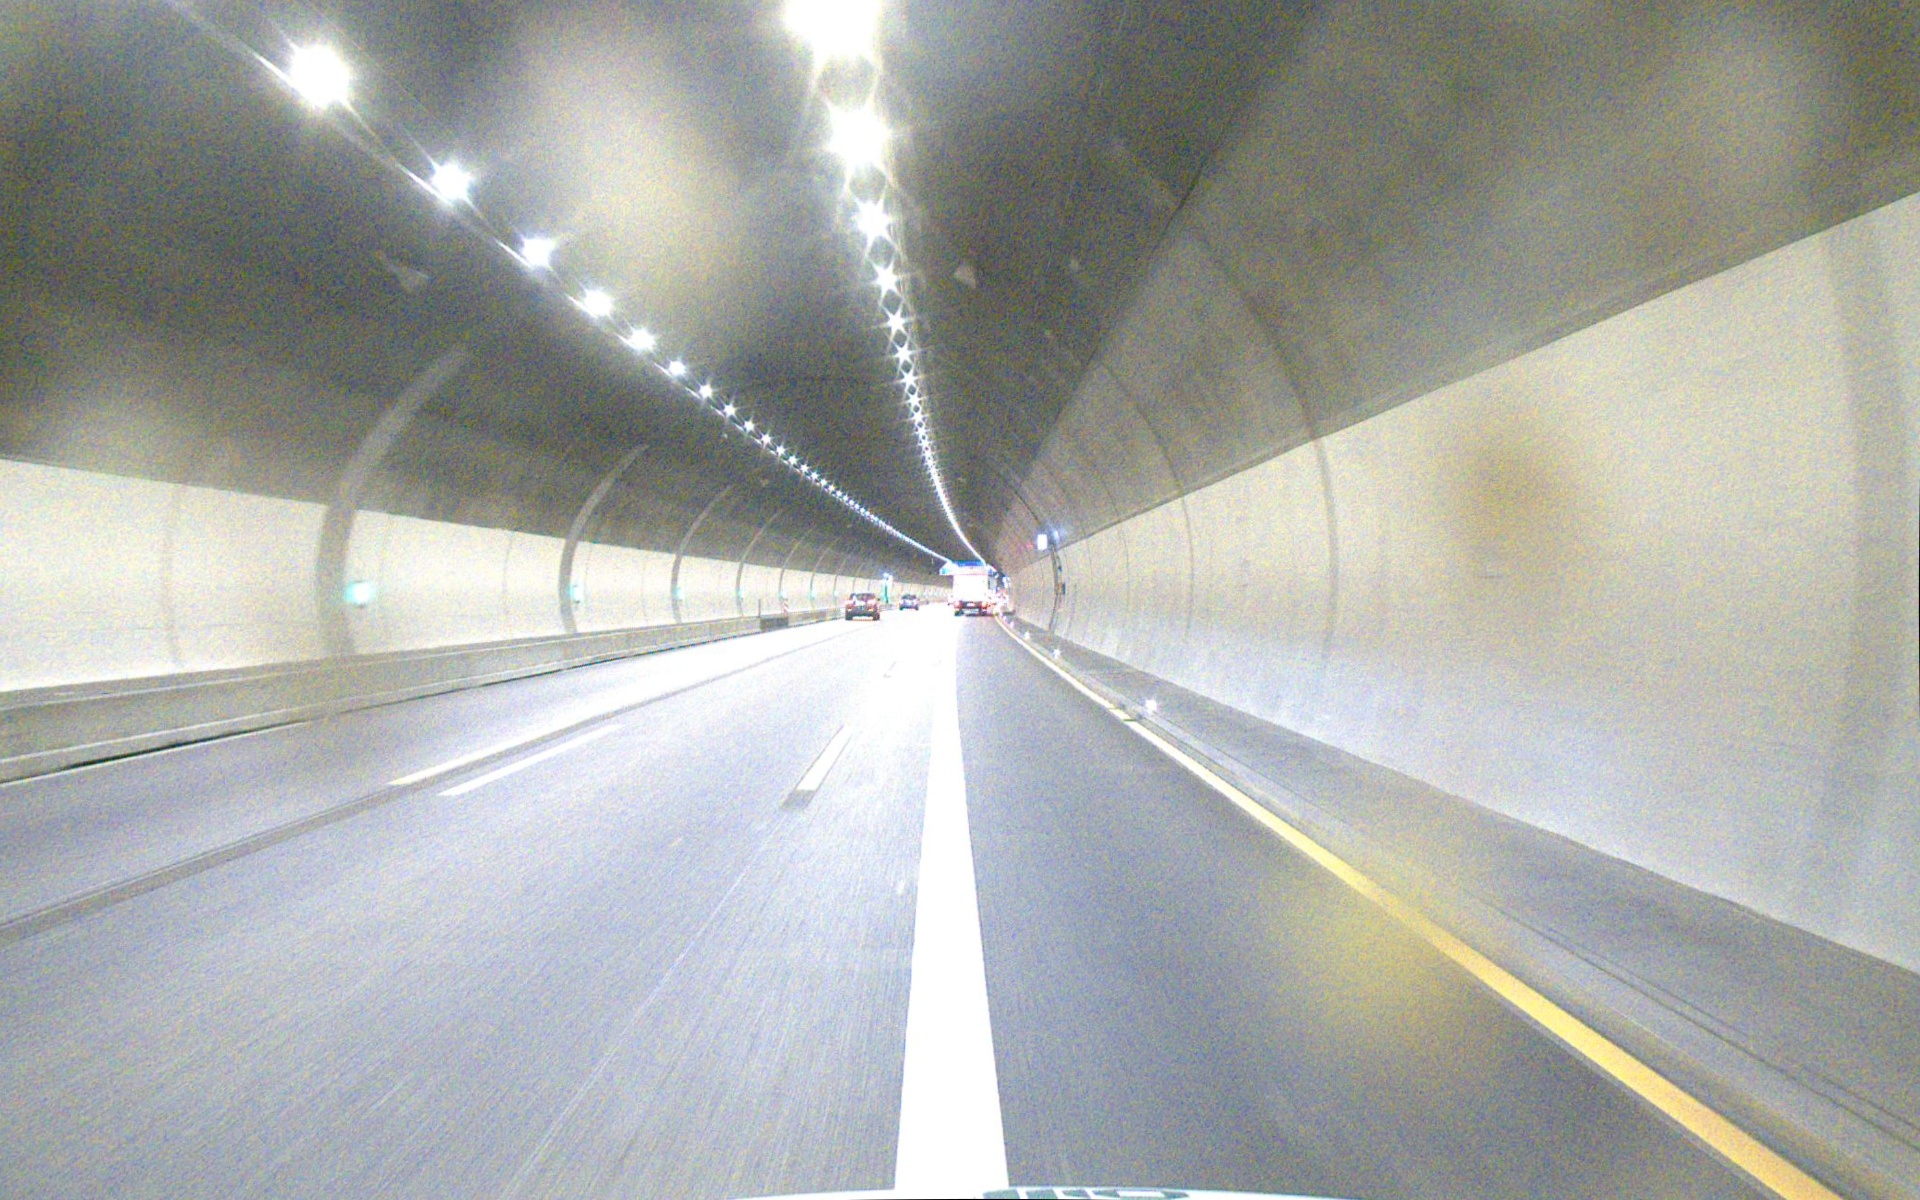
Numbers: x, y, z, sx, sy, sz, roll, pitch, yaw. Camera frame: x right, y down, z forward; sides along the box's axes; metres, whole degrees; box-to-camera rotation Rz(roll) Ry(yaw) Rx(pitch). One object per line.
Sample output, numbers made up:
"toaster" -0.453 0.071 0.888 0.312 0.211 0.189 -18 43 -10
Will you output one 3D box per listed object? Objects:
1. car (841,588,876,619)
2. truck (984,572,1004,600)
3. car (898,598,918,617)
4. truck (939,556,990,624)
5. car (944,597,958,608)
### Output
"car" -5.714 0.189 93.412 1.776 1.646 4.000 1 0 -1
"truck" 5.072 -2.040 248.468 2.863 4.118 14.029 -1 0 0
"car" -4.713 0.625 149.221 1.776 1.546 3.999 1 2 -2
"truck" 0.211 -0.734 125.652 3.212 4.731 17.280 -1 0 -2
"car" -1.161 0.323 215.336 1.617 1.297 3.999 1 2 -2
